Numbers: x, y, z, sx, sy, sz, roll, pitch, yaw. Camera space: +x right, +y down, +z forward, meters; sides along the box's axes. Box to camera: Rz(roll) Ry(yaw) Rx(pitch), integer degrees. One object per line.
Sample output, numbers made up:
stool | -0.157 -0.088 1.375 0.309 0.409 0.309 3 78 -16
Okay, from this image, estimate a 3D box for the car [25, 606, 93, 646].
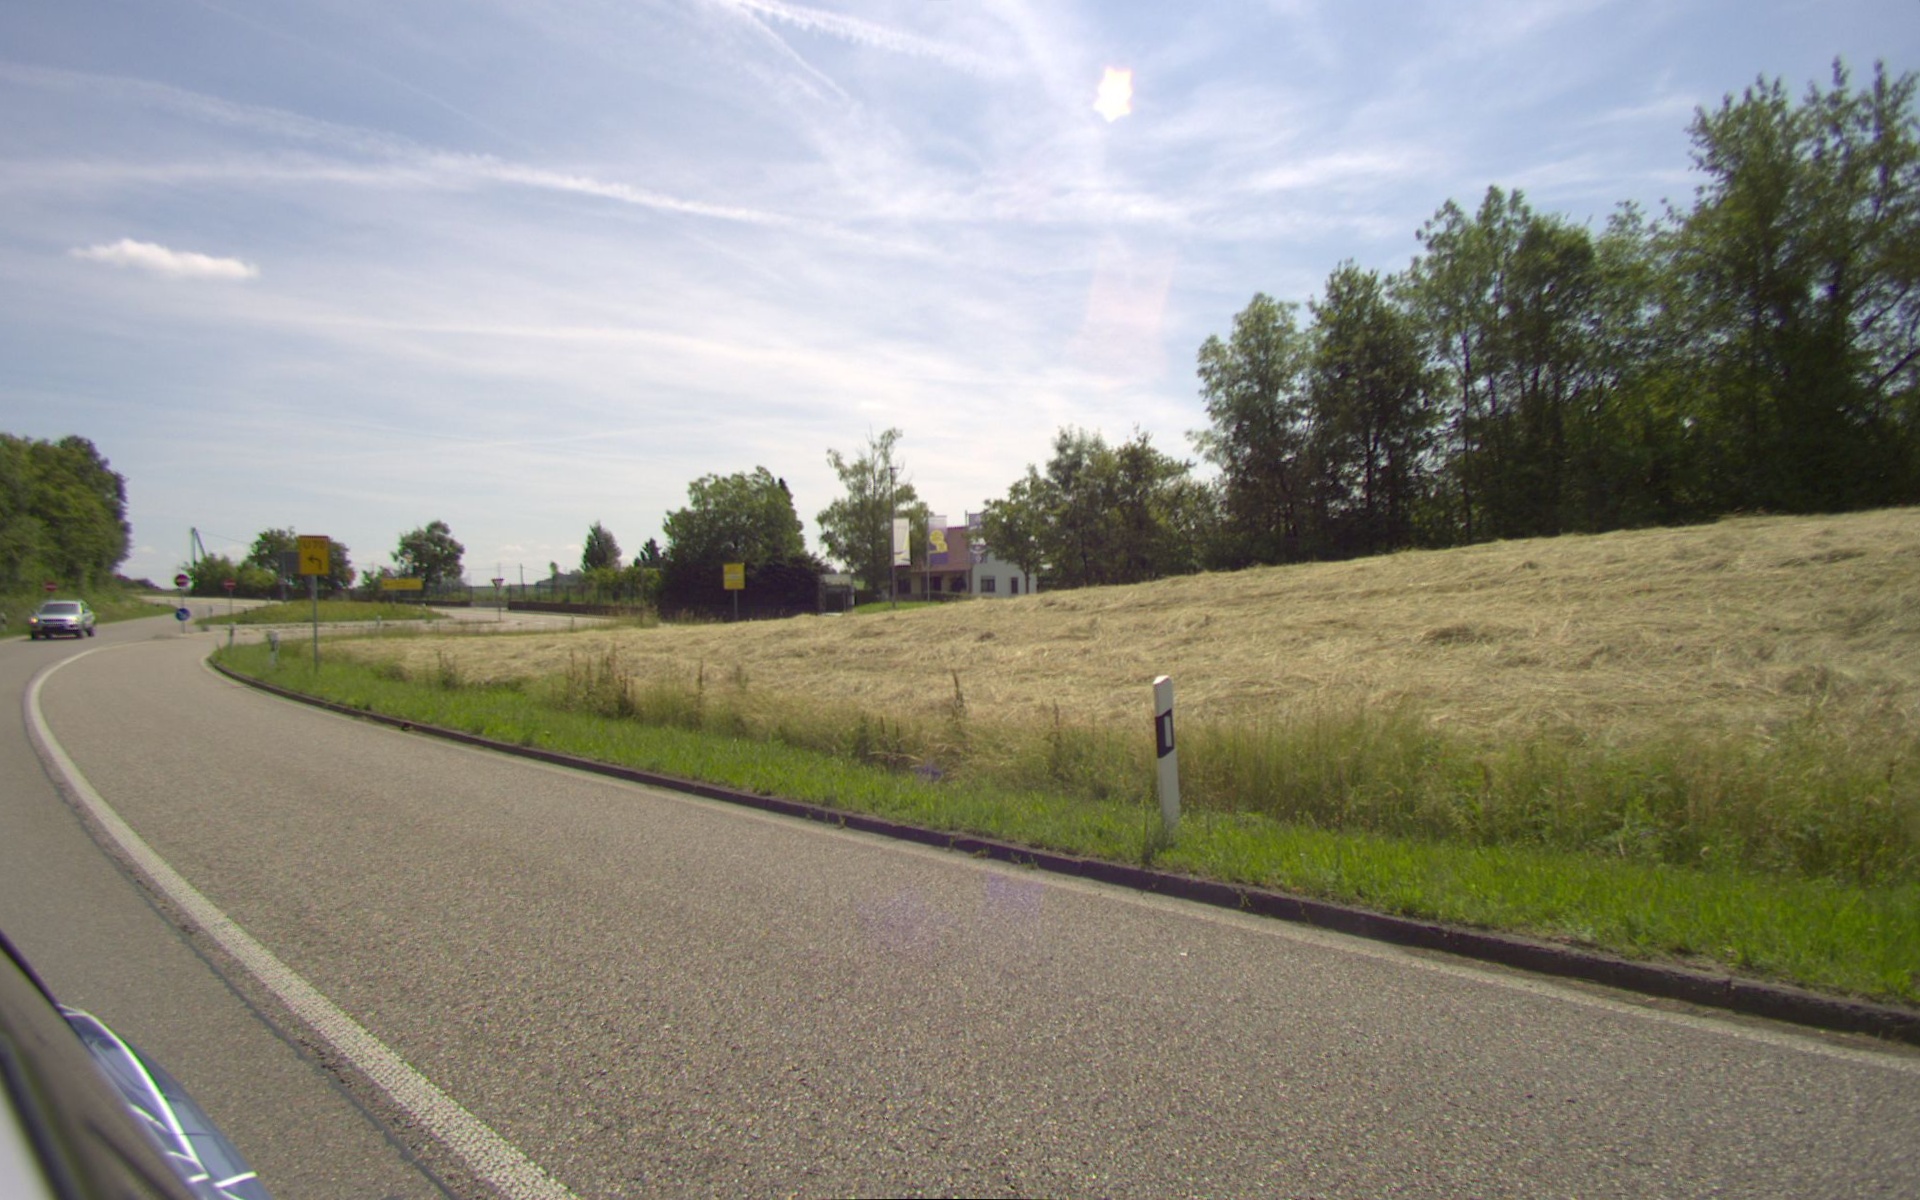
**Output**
car | -40.790 1.138 45.907 1.820 1.721 4.099 0 0 -35
